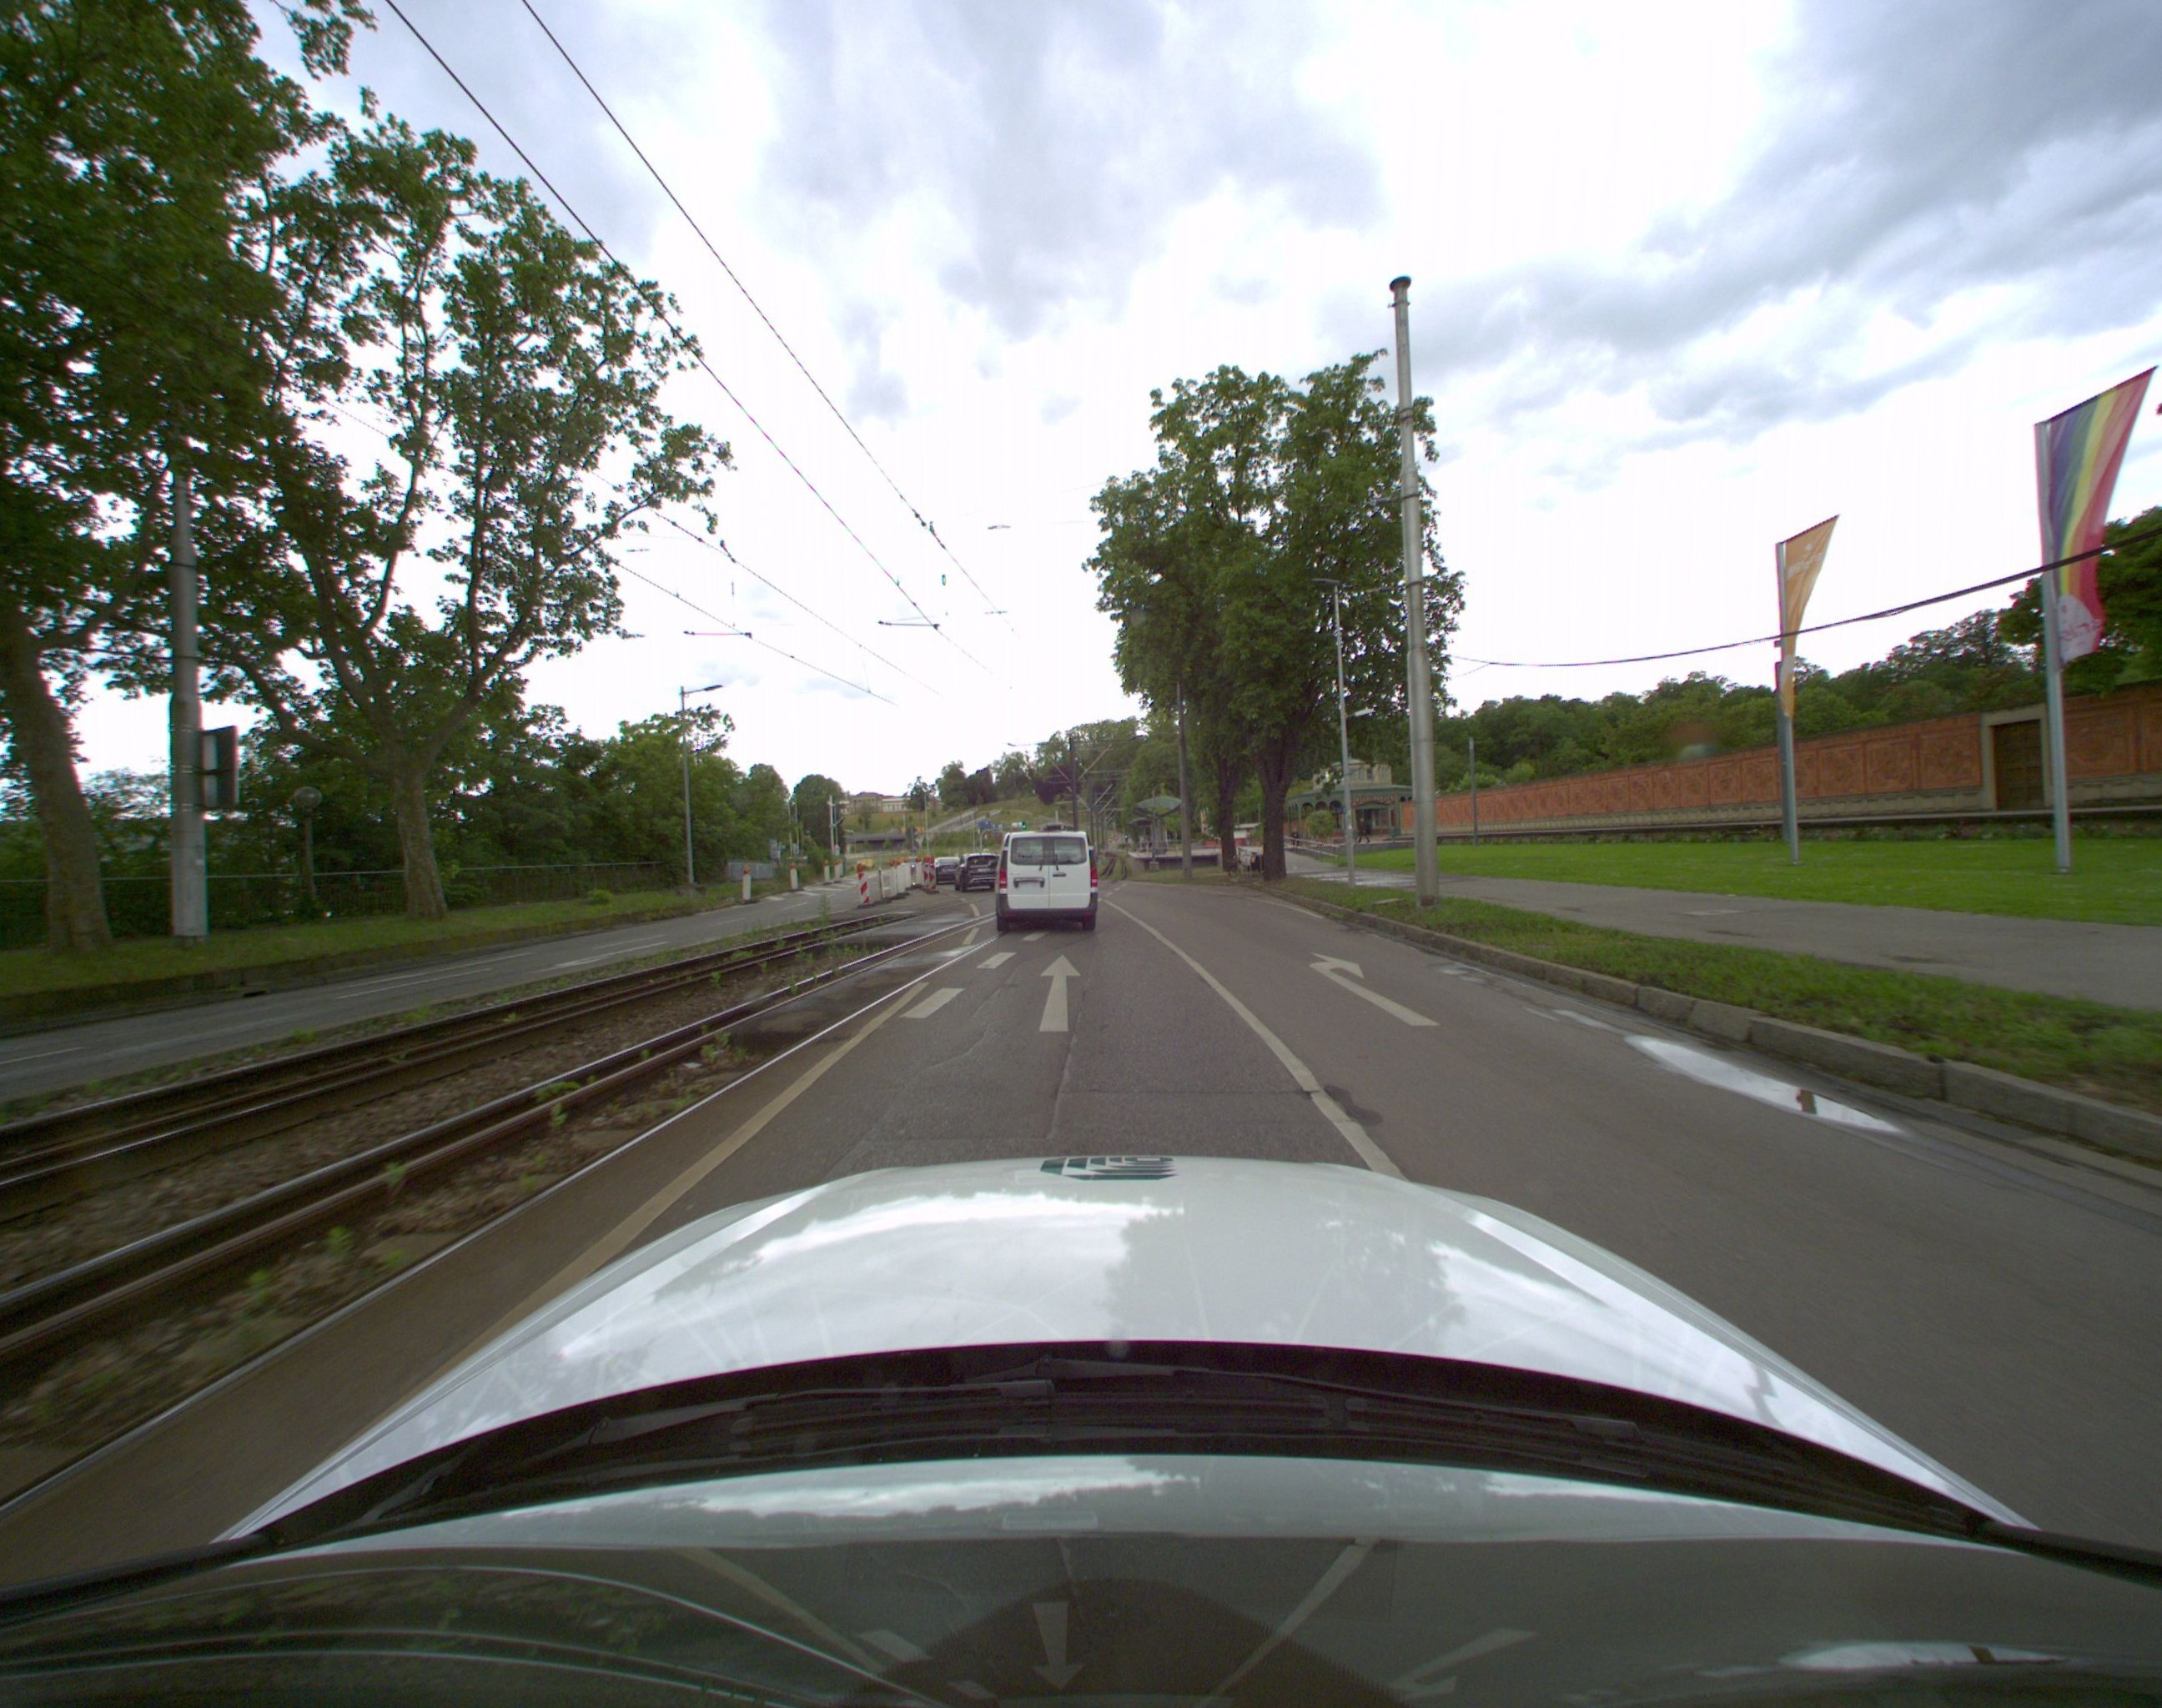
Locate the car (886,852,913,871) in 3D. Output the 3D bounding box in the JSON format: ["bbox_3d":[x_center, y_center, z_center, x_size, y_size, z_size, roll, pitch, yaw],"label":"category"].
[{"bbox_3d":[-15.908,0.614,71.418,1.692,1.461,3.906,-4,2,-5],"label":"car"}]

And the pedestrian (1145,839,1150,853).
[{"bbox_3d":[7.567,-0.888,92.713,0.522,1.620,0.676,-1,0,4],"label":"pedestrian"}]

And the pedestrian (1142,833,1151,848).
[{"bbox_3d":[7.490,-1.565,93.635,0.859,1.677,0.759,-1,0,-8],"label":"pedestrian"}]

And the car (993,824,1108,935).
[{"bbox_3d":[-0.765,0.440,16.504,1.957,1.903,4.451,-1,0,-7],"label":"car"}]

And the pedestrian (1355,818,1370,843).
[{"bbox_3d":[20.921,-1.766,60.494,0.940,1.838,0.553,-1,0,38],"label":"pedestrian"}]

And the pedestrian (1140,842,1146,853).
[{"bbox_3d":[7.148,-0.723,93.850,0.654,1.191,0.676,-1,0,4],"label":"pedestrian"}]

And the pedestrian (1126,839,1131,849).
[{"bbox_3d":[6.056,-1.297,103.975,0.671,1.323,0.968,-1,0,1],"label":"pedestrian"}]

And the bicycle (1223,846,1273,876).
[{"bbox_3d":[7.101,0.300,34.612,1.981,1.157,0.742,-3,0,7],"label":"bicycle"}]

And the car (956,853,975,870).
[{"bbox_3d":[-14.048,0.858,99.231,1.930,2.013,3.996,-1,0,-3],"label":"car"}]

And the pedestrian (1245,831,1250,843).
[{"bbox_3d":[20.884,-2.144,102.072,0.483,1.487,0.460,-1,0,5],"label":"pedestrian"}]

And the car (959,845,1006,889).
[{"bbox_3d":[-4.105,0.512,34.321,1.836,1.729,4.054,-1,0,-6],"label":"car"}]

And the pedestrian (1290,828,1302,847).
[{"bbox_3d":[14.175,-1.079,53.772,0.547,1.201,0.668,-1,0,-4],"label":"pedestrian"}]

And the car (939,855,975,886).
[{"bbox_3d":[-6.754,0.848,44.192,1.838,1.582,4.049,-1,0,-10],"label":"car"}]

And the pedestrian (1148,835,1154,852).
[{"bbox_3d":[7.770,-1.126,89.810,0.630,1.838,0.951,-1,0,4],"label":"pedestrian"}]
